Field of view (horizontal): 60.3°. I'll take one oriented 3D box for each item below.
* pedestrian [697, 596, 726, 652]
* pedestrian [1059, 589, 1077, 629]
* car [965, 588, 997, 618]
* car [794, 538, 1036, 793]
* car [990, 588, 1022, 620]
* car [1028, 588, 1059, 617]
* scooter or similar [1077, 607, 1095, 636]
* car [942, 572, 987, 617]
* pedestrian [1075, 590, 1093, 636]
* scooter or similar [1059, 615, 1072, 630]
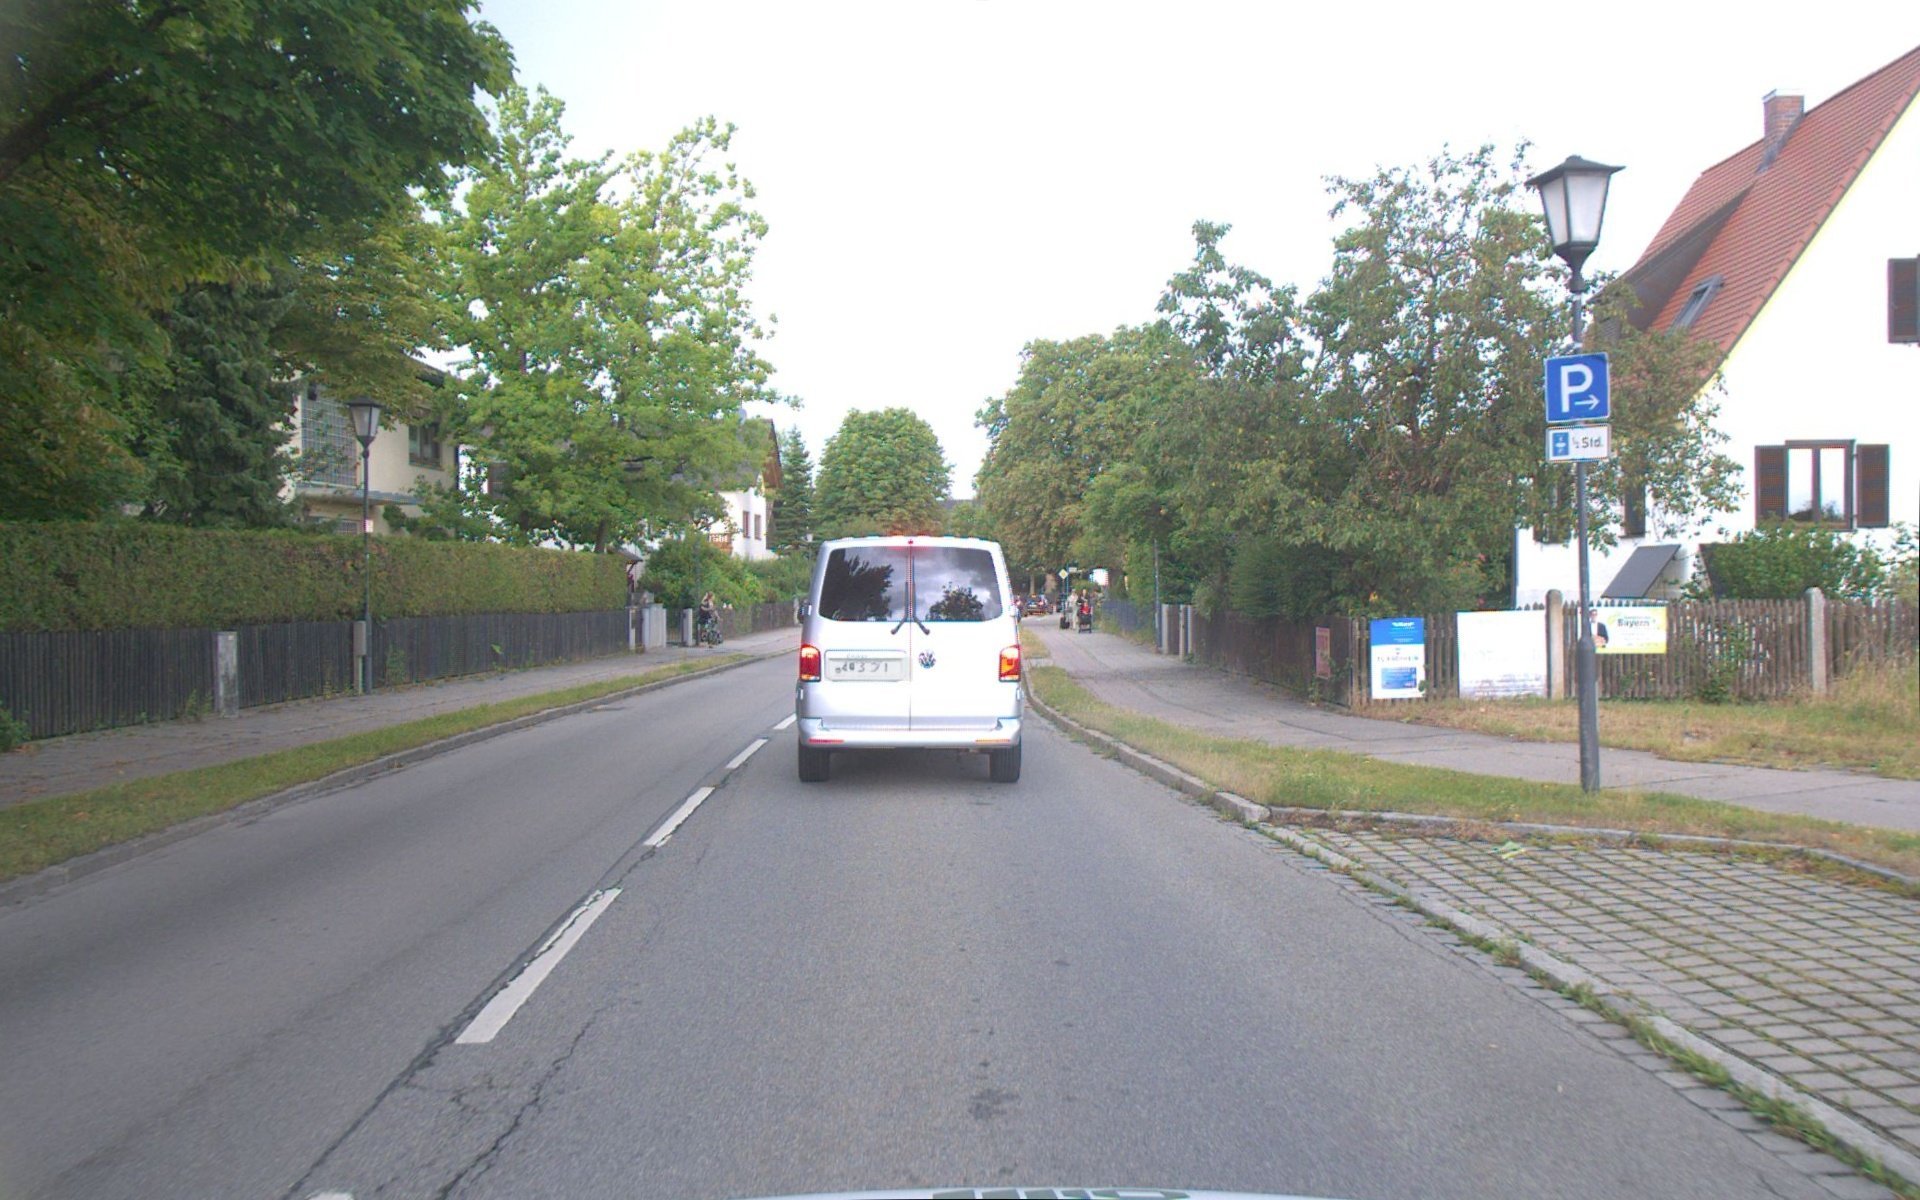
[{"bbox_3d":[-7.060,0.675,46.946,0.513,1.576,0.621,1,-1,40],"label":"pedestrian"},{"bbox_3d":[4.266,0.365,65.465,0.610,1.550,0.579,1,0,-3],"label":"pedestrian"},{"bbox_3d":[1.545,0.185,118.383,1.951,2.049,4.003,-1,0,5],"label":"car"},{"bbox_3d":[-0.325,0.507,14.626,1.849,1.945,4.000,0,0,0],"label":"car"},{"bbox_3d":[3.102,0.268,110.586,1.951,2.049,4.002,-1,0,4],"label":"car"},{"bbox_3d":[6.107,0.196,120.625,1.951,2.049,4.003,-1,0,7],"label":"car"},{"bbox_3d":[4.381,0.749,57.527,0.540,0.988,0.620,1,0,-3],"label":"scooter or similar"},{"bbox_3d":[0.247,-0.238,77.598,1.952,2.049,4.001,1,0,2],"label":"car"},{"bbox_3d":[4.368,0.454,58.186,0.540,1.576,0.611,1,0,-3],"label":"pedestrian"},{"bbox_3d":[4.209,0.899,66.047,0.465,0.554,0.458,1,0,-3],"label":"scooter or similar"}]
